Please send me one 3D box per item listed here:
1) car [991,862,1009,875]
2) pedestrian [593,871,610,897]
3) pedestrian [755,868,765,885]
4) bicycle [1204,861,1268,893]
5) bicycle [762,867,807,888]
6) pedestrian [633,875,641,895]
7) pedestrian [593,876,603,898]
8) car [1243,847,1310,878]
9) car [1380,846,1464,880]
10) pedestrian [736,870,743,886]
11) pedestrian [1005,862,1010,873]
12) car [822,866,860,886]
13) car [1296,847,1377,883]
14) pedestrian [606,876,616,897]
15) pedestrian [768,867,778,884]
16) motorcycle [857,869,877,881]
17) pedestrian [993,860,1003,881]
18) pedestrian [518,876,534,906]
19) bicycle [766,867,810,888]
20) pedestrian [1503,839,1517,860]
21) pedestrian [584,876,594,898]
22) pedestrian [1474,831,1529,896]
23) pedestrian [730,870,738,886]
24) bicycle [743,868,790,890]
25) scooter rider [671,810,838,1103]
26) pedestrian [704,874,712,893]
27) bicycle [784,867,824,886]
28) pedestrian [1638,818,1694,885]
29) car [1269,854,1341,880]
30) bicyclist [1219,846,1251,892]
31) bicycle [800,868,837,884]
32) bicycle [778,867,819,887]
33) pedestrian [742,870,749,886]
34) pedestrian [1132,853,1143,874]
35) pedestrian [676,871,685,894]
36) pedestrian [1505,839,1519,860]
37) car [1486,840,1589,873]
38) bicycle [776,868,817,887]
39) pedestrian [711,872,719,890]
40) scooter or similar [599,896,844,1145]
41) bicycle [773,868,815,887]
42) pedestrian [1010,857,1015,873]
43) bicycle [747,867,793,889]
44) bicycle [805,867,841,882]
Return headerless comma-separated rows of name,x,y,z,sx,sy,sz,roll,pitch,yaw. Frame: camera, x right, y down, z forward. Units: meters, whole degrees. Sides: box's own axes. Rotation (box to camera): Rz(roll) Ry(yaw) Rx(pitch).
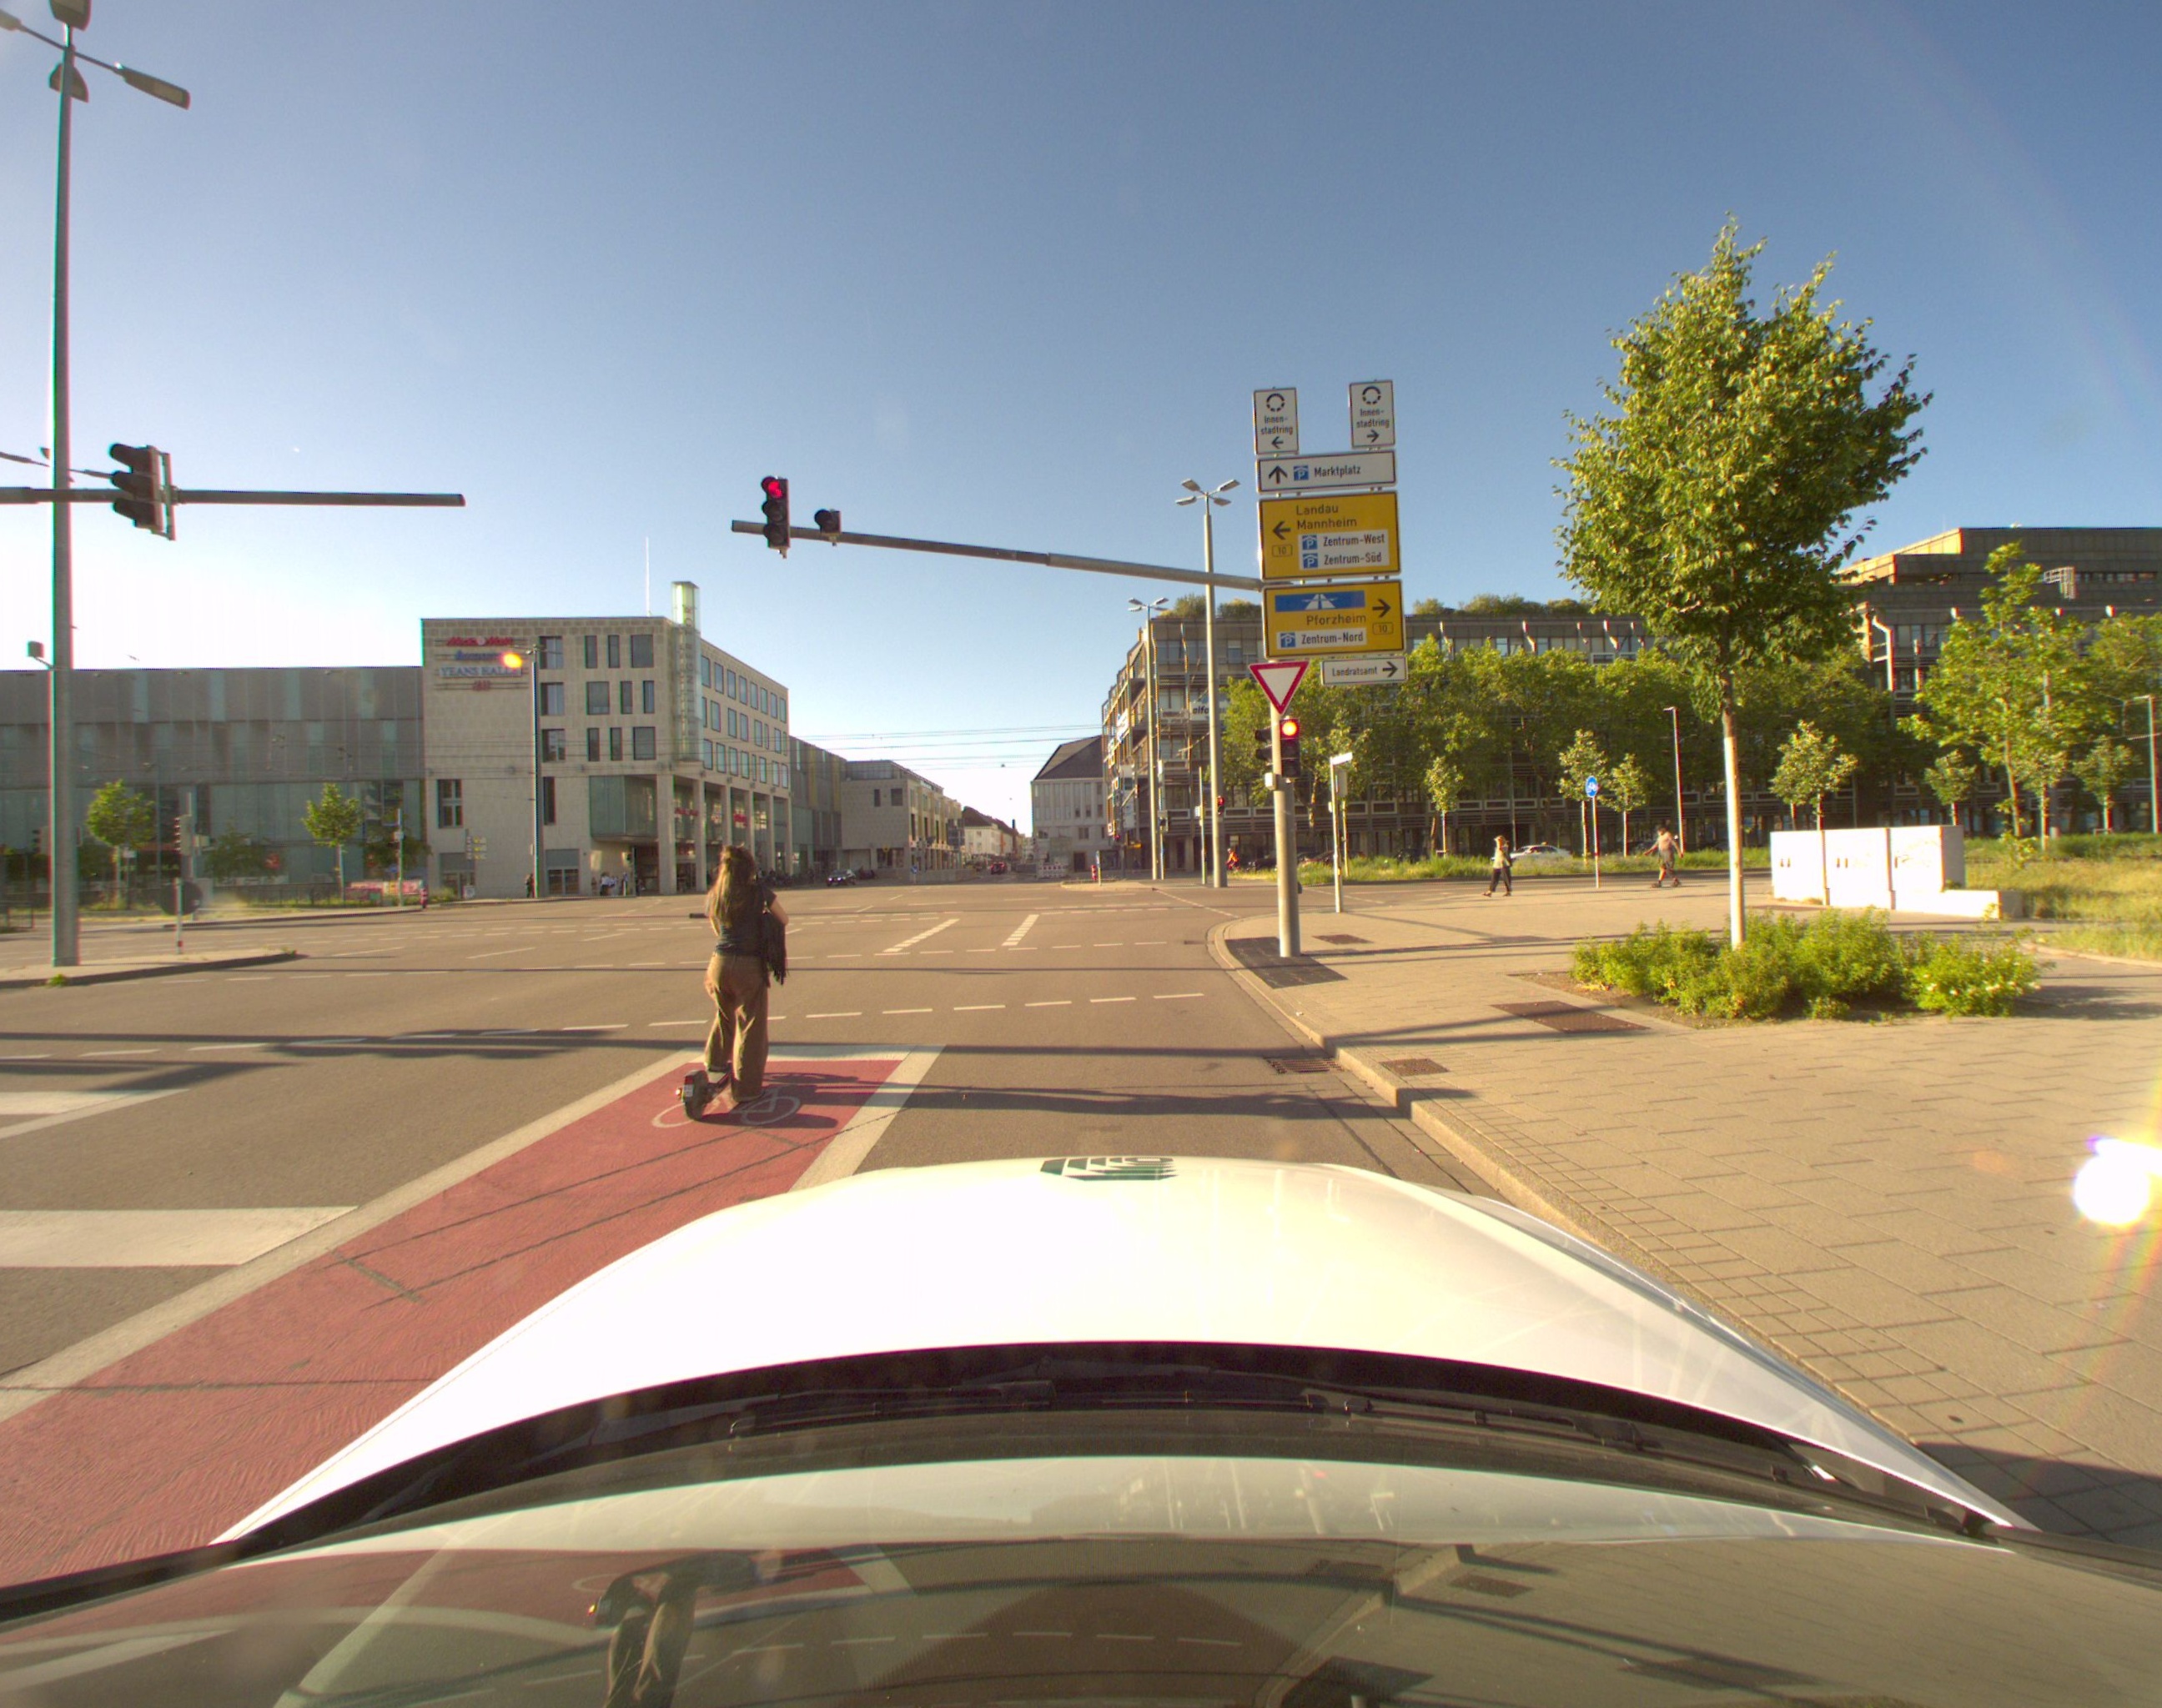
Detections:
car,-10.793,1.876,108.858,2.195,1.607,4.320,-2,0,-4
pedestrian,-33.930,2.108,57.626,0.755,1.798,0.736,-2,0,-3
pedestrian,-30.930,2.171,78.507,0.789,1.642,0.688,-2,0,-30
bicycle,8.926,1.311,47.064,3.488,1.659,0.929,-2,0,-7
bicycle,-26.145,2.065,71.951,3.488,1.696,1.114,-2,0,-7
pedestrian,-32.618,2.299,59.789,0.387,1.426,0.499,-2,0,-18
pedestrian,-34.813,2.393,58.701,0.420,1.565,0.457,-2,0,2
car,12.839,0.556,53.620,3.975,2.014,1.999,0,-1,-1
car,21.405,0.557,51.244,4.435,2.014,1.998,0,-1,-4
pedestrian,-33.940,2.346,80.937,0.480,1.585,0.598,-2,0,-3
pedestrian,-9.426,1.720,104.037,0.608,1.411,0.569,-2,0,-5
car,-20.769,1.882,70.556,1.986,1.486,4.002,-2,0,2
car,14.453,0.615,46.206,3.975,2.014,1.999,0,-1,-1
pedestrian,-34.341,2.378,59.477,0.421,1.527,0.456,-2,0,-6
pedestrian,-30.110,2.094,79.585,0.652,1.642,0.693,-2,0,-7
motorcycle,-25.970,2.529,98.863,2.269,1.318,0.719,-2,0,-4
pedestrian,-6.818,1.374,66.678,0.661,1.658,0.755,-2,0,-1
pedestrian,-32.489,2.148,47.654,0.525,1.694,0.546,-2,0,-9
bicycle,-26.321,2.110,73.172,3.488,1.696,1.114,-2,0,-7
pedestrian,34.829,-0.376,66.108,0.662,1.658,0.739,-2,0,-5
pedestrian,-35.283,2.349,58.365,0.421,1.501,0.456,-2,0,-9
pedestrian,10.908,0.233,21.153,0.801,1.630,0.939,-2,0,-12
pedestrian,-32.886,2.299,77.190,0.480,1.510,0.513,-2,0,-3
bicycle,-26.733,2.092,69.290,3.488,1.696,1.114,-2,0,-7
scooter rider,-2.119,0.629,5.385,0.726,1.775,0.811,-1,0,1
pedestrian,-32.554,2.588,71.077,0.480,1.585,0.513,-2,0,-3
bicycle,-27.250,2.228,80.159,3.491,1.696,0.984,-2,0,-10
pedestrian,15.610,-0.065,21.743,0.694,1.728,0.939,-2,0,-12
car,13.852,0.778,50.472,3.976,1.508,1.867,-1,0,-2
bicyclist,8.885,0.851,47.068,1.566,2.580,0.929,-2,0,-7
bicycle,-27.550,2.285,85.578,3.491,1.527,0.984,-2,0,-10
bicycle,-27.045,2.205,78.063,3.491,1.696,0.984,-2,0,-10
pedestrian,-33.338,2.368,80.928,0.480,1.585,0.598,-2,0,-3
pedestrian,4.556,0.750,65.412,0.728,1.658,0.649,-2,0,-5
pedestrian,-29.564,2.088,60.074,0.544,1.642,0.545,-2,0,-31
pedestrian,34.578,-0.381,65.348,0.662,1.658,0.739,-2,0,-5
car,28.893,0.140,51.651,5.424,2.014,2.097,0,-1,-1
bicycle,-26.857,2.194,76.854,3.491,1.696,0.984,-2,0,-10
pedestrian,-32.270,2.369,71.816,0.480,1.510,0.513,-2,0,-3
scooter or similar,-2.127,0.913,5.093,0.725,1.202,1.665,-1,0,2
bicycle,-26.681,2.175,75.758,3.491,1.696,0.984,-2,0,-10
pedestrian,-8.712,1.388,104.014,0.608,2.013,0.569,-2,0,-5
bicycle,-26.909,2.055,70.455,3.488,1.696,1.114,-2,0,-7
bicycle,-27.655,2.206,87.446,3.491,1.527,0.984,-2,0,-10
